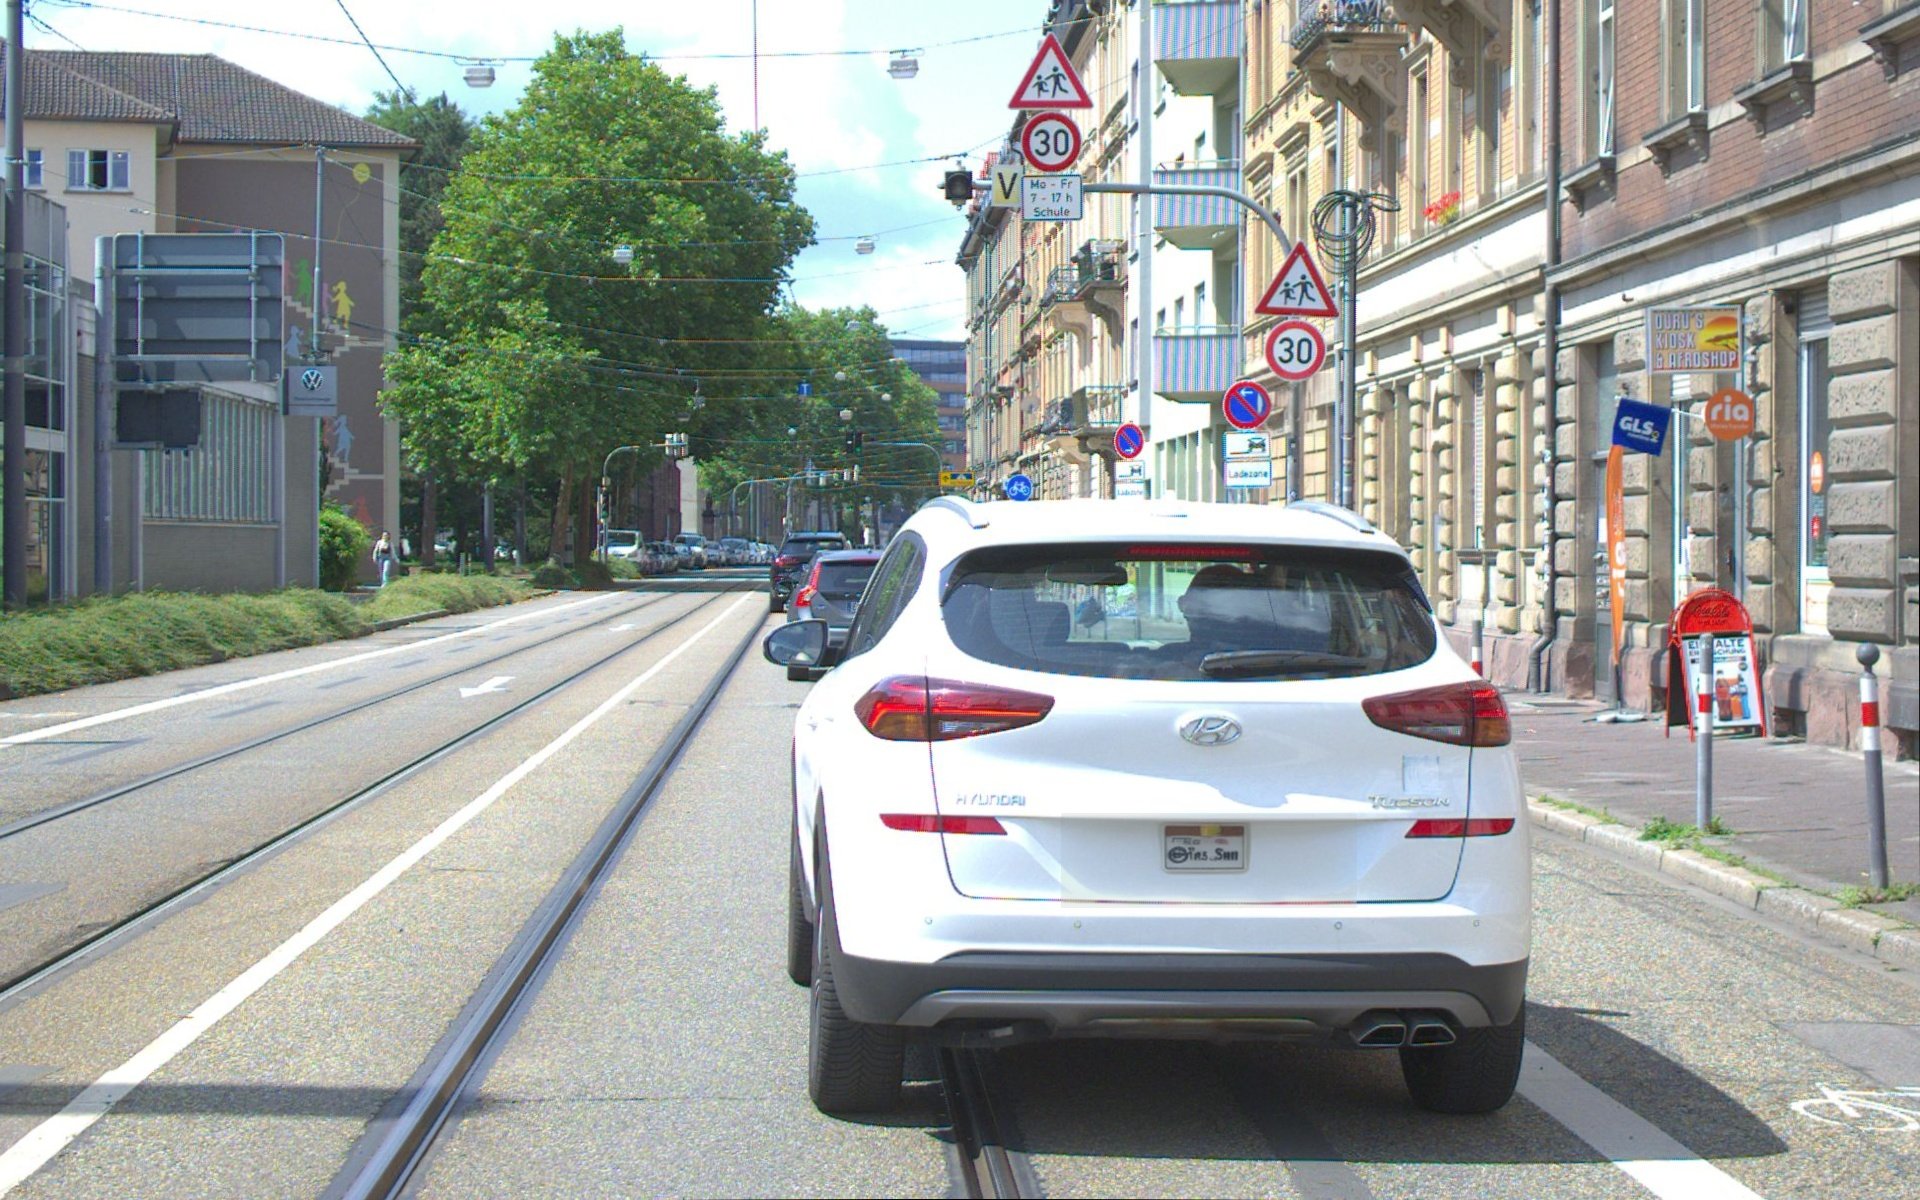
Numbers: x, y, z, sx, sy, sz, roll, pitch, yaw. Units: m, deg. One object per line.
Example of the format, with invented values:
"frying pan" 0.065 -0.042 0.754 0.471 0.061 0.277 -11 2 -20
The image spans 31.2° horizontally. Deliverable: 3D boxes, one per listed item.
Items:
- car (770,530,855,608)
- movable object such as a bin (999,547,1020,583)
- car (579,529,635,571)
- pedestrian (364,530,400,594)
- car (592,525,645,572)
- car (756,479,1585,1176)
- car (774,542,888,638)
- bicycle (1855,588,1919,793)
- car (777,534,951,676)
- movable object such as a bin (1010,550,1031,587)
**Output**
"car" -3.261 -0.700 75.884 1.814 1.656 4.086 1 1 -2
"movable object such as a bin" 1.585 -1.119 110.401 0.612 1.139 0.638 1 1 -2
"car" -14.198 -2.032 138.423 1.950 1.626 4.576 1 1 -3
"pedestrian" -16.757 -1.103 99.717 0.880 1.859 1.081 -1 1 -2
"car" -14.320 -2.180 144.387 1.950 1.888 4.566 1 1 -3
"car" 0.387 0.510 10.295 1.852 1.628 4.181 1 1 -5
"car" -2.127 -0.189 56.464 1.814 1.519 3.956 0 1 -2
"bicycle" 5.890 0.535 20.292 0.586 1.174 2.205 0 1 -1
"car" -1.040 0.017 39.117 1.814 1.519 4.085 0 1 1
"movable object such as a bin" 1.906 -1.002 108.981 0.612 1.139 0.638 1 1 -2
